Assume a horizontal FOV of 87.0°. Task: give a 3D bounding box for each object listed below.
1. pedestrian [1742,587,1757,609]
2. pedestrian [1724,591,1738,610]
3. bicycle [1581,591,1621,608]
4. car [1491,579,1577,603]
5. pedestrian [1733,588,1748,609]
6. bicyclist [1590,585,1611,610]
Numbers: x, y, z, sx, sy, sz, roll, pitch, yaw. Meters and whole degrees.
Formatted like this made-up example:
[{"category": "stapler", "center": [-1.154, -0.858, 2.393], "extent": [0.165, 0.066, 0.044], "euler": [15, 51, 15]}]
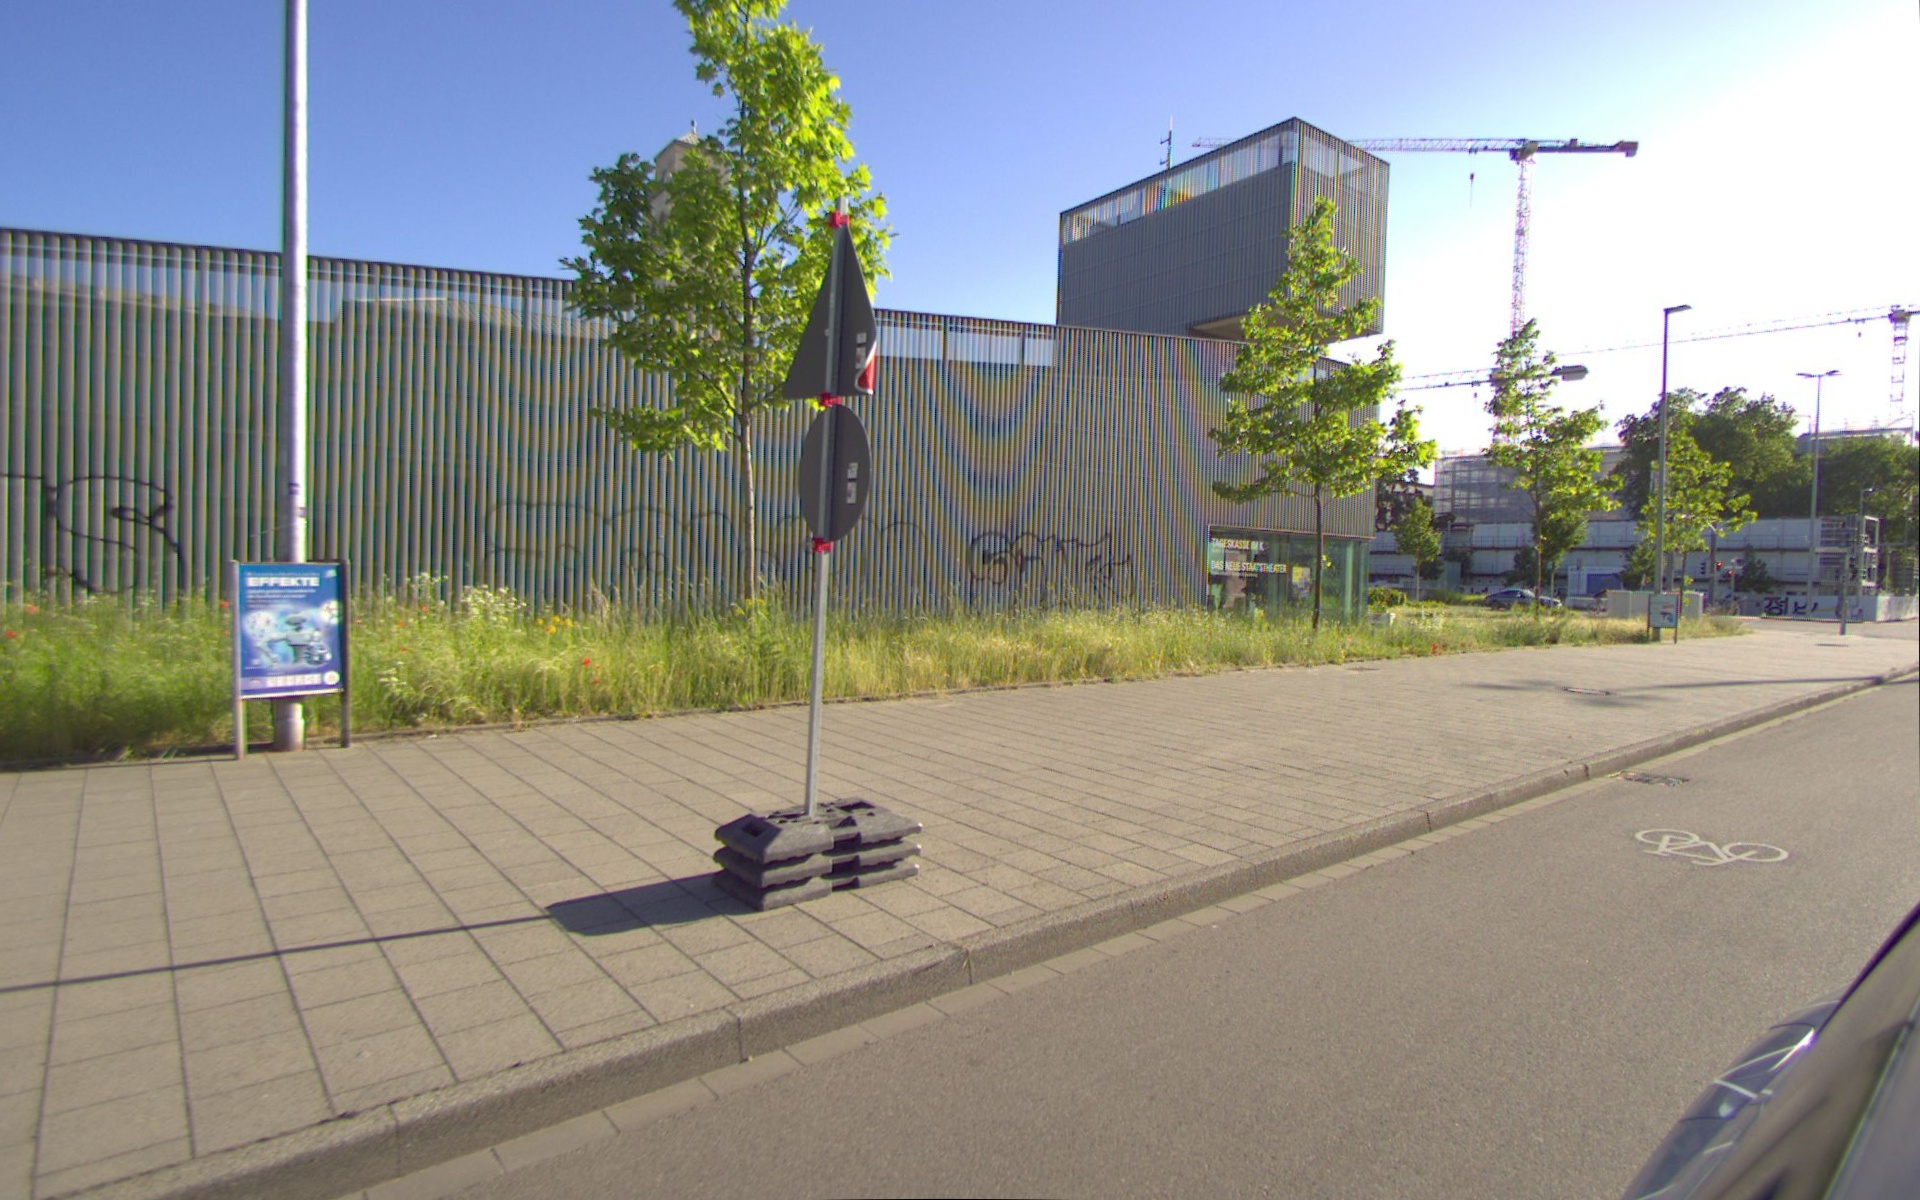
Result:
[{"category": "pedestrian", "center": [60.887, -0.170, 78.041], "extent": [0.824, 1.701, 0.654], "euler": [1, 1, -34]}, {"category": "pedestrian", "center": [59.087, 0.028, 77.526], "extent": [0.592, 1.471, 0.654], "euler": [1, 1, -34]}, {"category": "bicycle", "center": [38.659, -0.046, 61.063], "extent": [0.614, 0.920, 1.907], "euler": [-1, 3, -42]}, {"category": "car", "center": [37.256, -0.624, 65.771], "extent": [1.742, 1.368, 4.529], "euler": [-1, 3, -33]}, {"category": "pedestrian", "center": [59.945, -0.117, 77.722], "extent": [0.824, 1.608, 0.654], "euler": [1, 1, -34]}, {"category": "bicyclist", "center": [38.657, -0.156, 61.069], "extent": [0.614, 1.522, 0.936], "euler": [-1, 2, -43]}]
